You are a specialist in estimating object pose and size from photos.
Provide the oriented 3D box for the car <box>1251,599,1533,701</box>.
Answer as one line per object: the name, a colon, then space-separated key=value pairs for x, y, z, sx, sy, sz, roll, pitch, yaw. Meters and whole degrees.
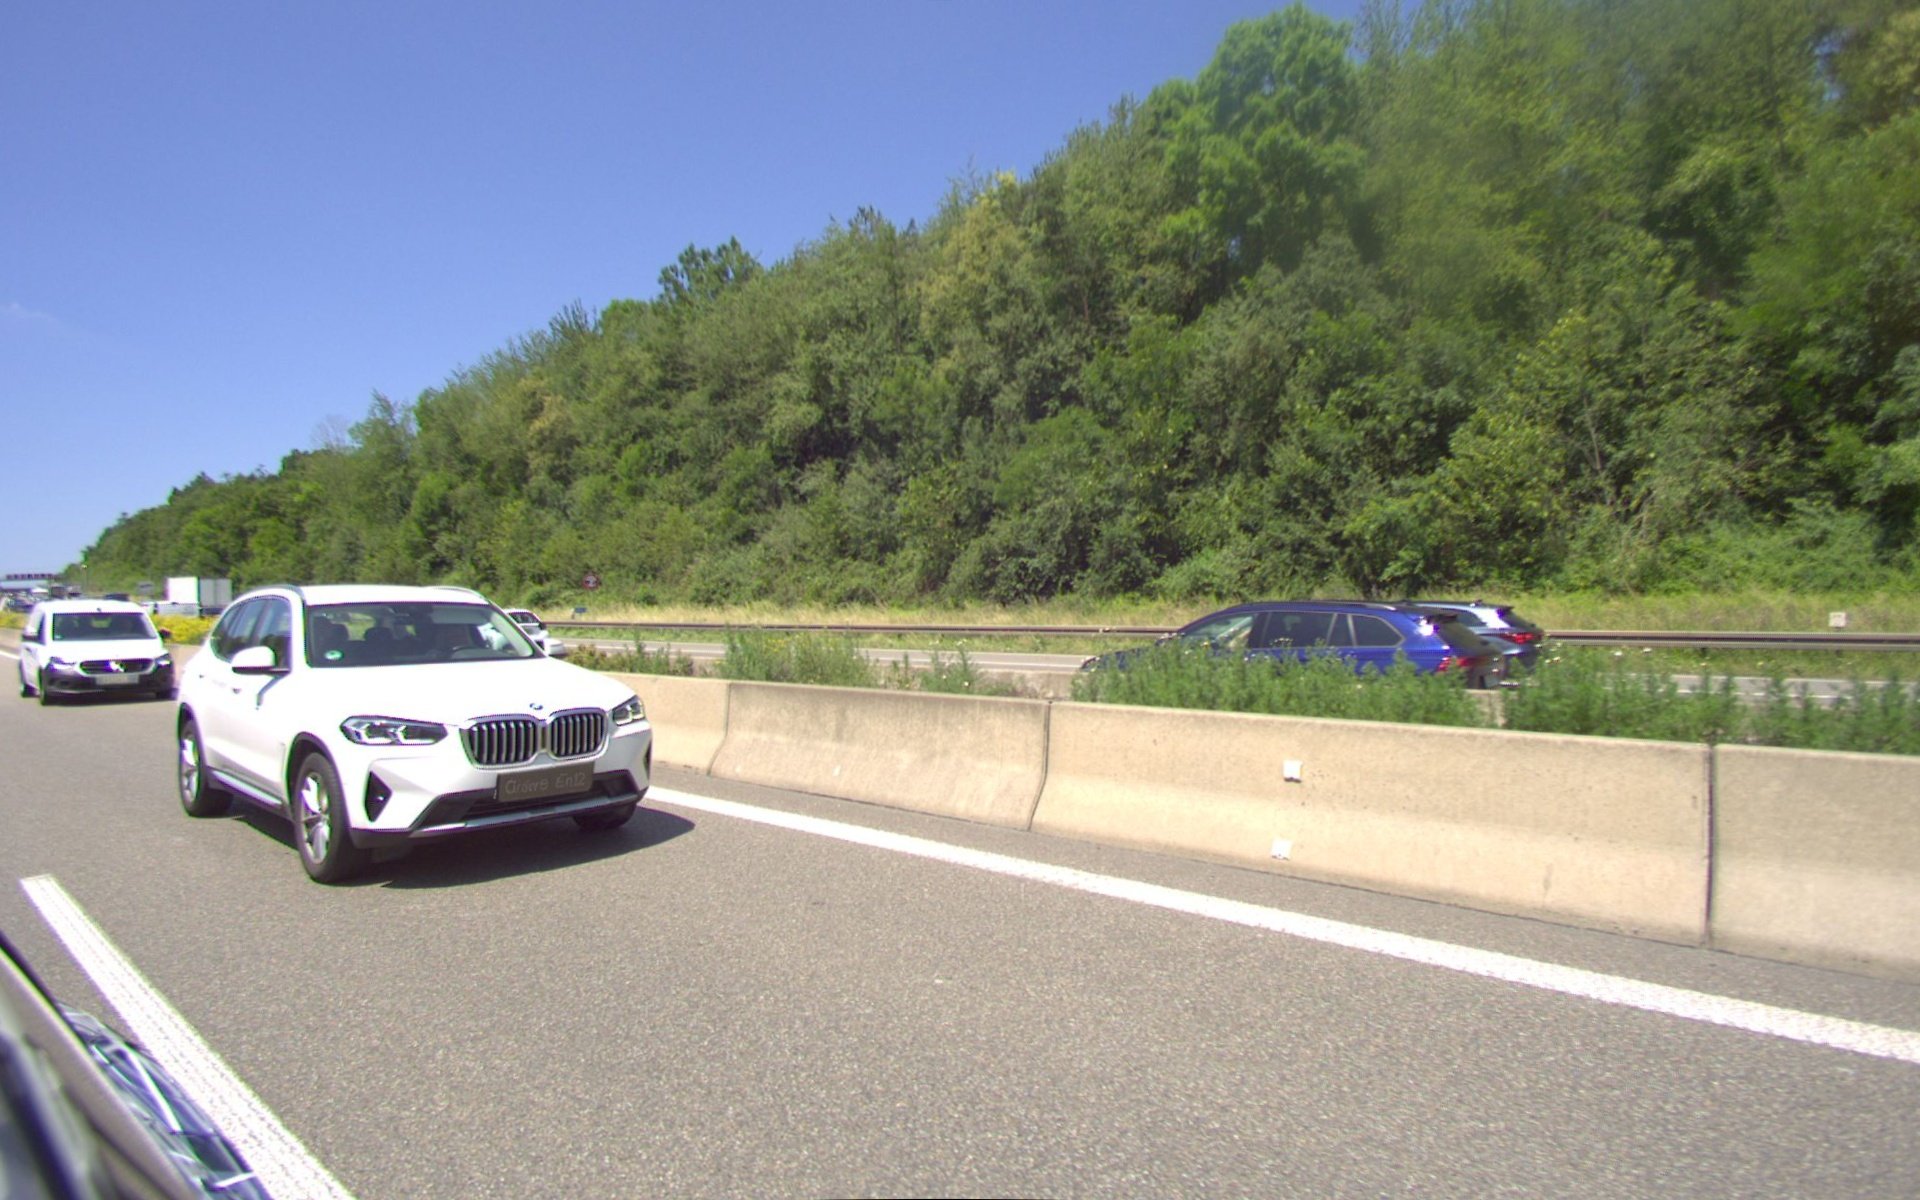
car: x=7.276 y=0.802 z=17.216 sx=3.997 sy=1.519 sz=1.973 roll=-2 pitch=-2 yaw=40

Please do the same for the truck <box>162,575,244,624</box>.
truck: x=-70.187 y=-0.004 z=93.600 sx=13.792 sy=4.226 sz=3.669 roll=-1 pitch=0 yaw=43

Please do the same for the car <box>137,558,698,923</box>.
car: x=-4.062 y=0.709 z=7.089 sx=4.953 sy=1.707 sz=1.845 roll=-2 pitch=-1 yaw=41

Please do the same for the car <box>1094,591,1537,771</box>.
car: x=3.570 y=0.718 z=10.548 sx=3.997 sy=1.521 sz=1.743 roll=-1 pitch=-1 yaw=40

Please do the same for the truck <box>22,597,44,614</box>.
truck: x=-181.295 y=1.077 z=197.940 sx=7.783 sy=3.143 sz=2.511 roll=-1 pitch=0 yaw=42

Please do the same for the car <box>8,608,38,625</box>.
car: x=-95.974 y=1.640 z=103.635 sx=3.998 sy=1.680 sz=1.897 roll=-1 pitch=0 yaw=41

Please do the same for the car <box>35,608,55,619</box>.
car: x=-143.386 y=2.042 z=158.586 sx=3.999 sy=1.698 sz=1.972 roll=-1 pitch=0 yaw=42

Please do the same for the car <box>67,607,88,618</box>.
car: x=-139.195 y=2.003 z=159.618 sx=3.999 sy=1.698 sz=1.972 roll=-1 pitch=0 yaw=42

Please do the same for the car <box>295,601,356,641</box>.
car: x=-33.351 y=1.090 z=53.187 sx=3.998 sy=2.029 sz=1.616 roll=-1 pitch=0 yaw=41

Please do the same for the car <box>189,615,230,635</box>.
car: x=-54.021 y=1.812 z=72.808 sx=3.505 sy=1.399 sz=1.598 roll=-2 pitch=-1 yaw=40

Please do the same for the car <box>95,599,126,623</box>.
car: x=-91.789 y=1.180 z=109.338 sx=3.999 sy=2.448 sz=1.972 roll=-1 pitch=0 yaw=42

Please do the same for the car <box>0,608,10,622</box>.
car: x=-119.951 y=1.835 z=126.118 sx=3.999 sy=1.698 sz=1.972 roll=-1 pitch=0 yaw=42

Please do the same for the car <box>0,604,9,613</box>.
car: x=-177.233 y=1.635 z=186.743 sx=4.147 sy=1.698 sz=2.130 roll=-1 pitch=0 yaw=42

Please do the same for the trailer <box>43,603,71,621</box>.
trailer: x=-102.839 y=1.364 z=115.288 sx=3.999 sy=2.029 sz=1.972 roll=-1 pitch=0 yaw=42

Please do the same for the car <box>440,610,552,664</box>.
car: x=-14.076 y=1.096 z=30.633 sx=3.826 sy=1.519 sz=1.654 roll=-1 pitch=0 yaw=41

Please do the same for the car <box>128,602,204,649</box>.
car: x=-36.702 y=1.144 z=46.736 sx=4.899 sy=2.029 sz=1.972 roll=-1 pitch=0 yaw=42

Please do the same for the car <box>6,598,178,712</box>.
car: x=-15.976 y=0.941 z=18.544 sx=4.671 sy=1.826 sz=1.746 roll=-2 pitch=-1 yaw=41
